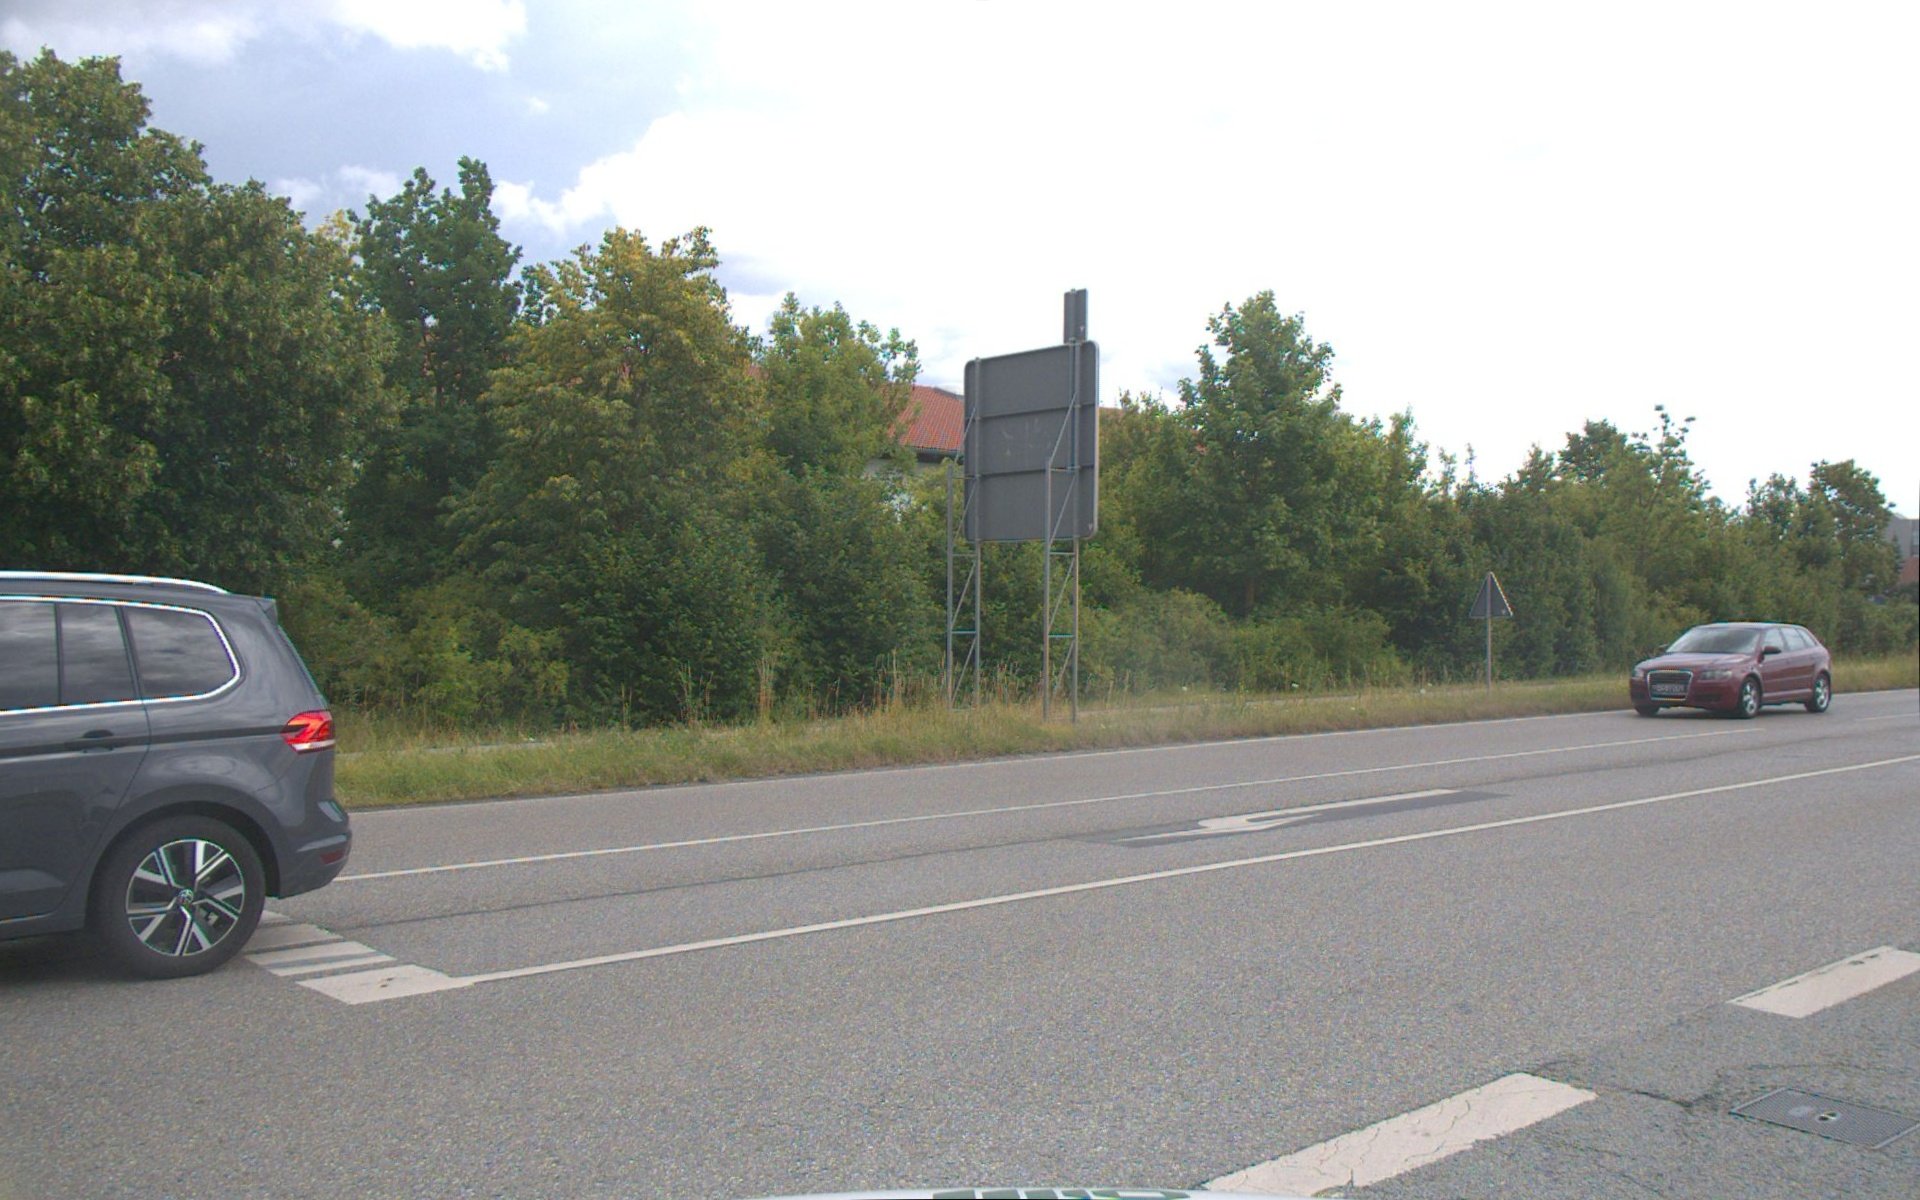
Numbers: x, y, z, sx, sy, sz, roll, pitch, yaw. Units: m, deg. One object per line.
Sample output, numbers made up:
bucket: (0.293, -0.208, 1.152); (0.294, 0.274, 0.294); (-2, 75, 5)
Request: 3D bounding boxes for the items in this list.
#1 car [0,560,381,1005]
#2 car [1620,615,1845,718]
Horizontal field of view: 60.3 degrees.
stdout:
car: (-4.689, 0.709, 6.495); (4.253, 1.687, 1.727); (0, -1, -42)
car: (12.068, 0.977, 25.735); (4.052, 1.426, 1.653); (-1, -1, -41)
